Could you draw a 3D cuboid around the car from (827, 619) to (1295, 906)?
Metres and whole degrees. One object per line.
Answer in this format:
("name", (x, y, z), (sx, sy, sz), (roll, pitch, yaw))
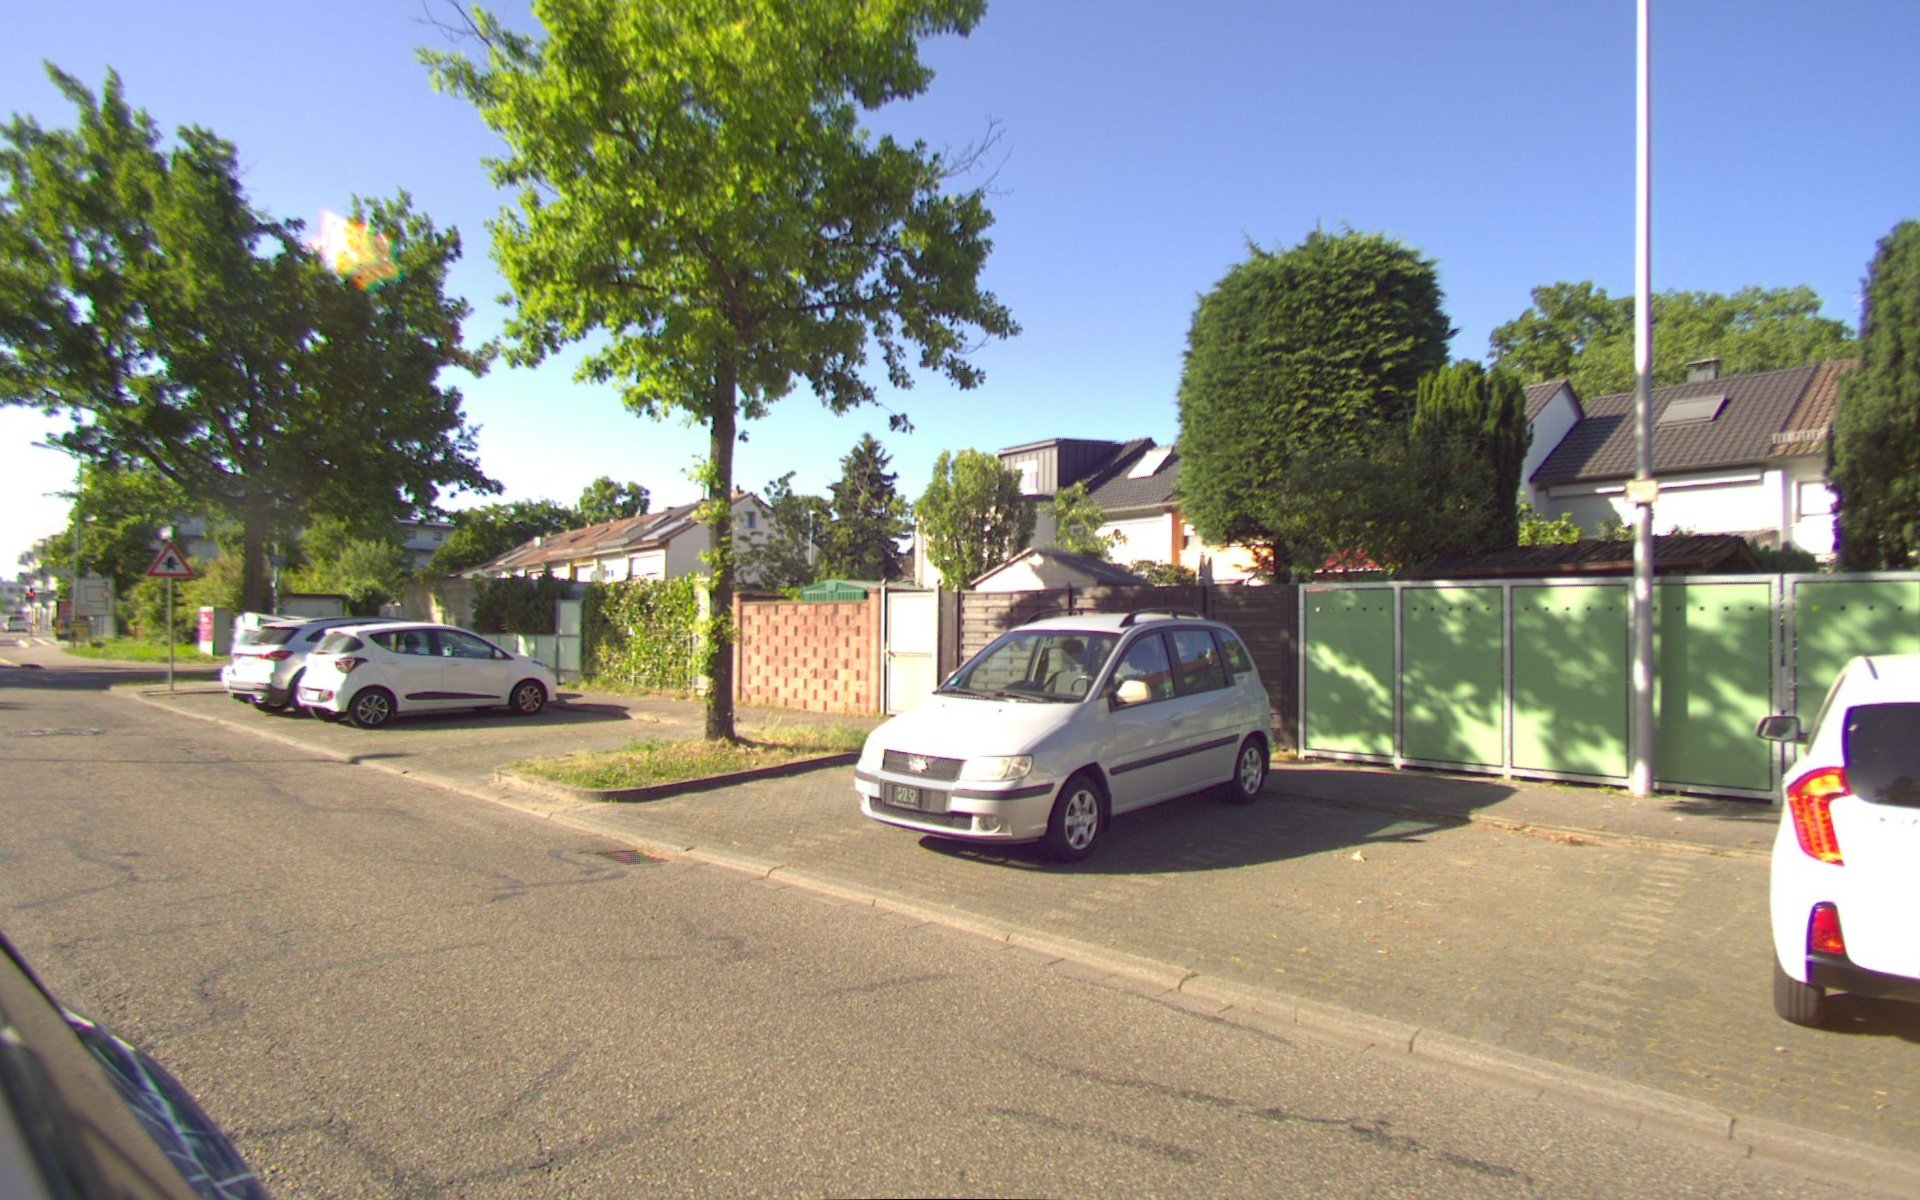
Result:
("car", (0.998, 0.997, 7.986), (1.705, 1.626, 3.897), (-2, -1, 42))

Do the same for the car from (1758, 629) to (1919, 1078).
("car", (4.937, 0.926, 4.645), (1.794, 1.526, 3.959), (-1, -3, 41))

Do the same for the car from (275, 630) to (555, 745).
("car", (-8.409, 1.256, 15.825), (1.706, 1.507, 3.480), (0, -1, 38))

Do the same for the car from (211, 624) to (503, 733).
("car", (-10.297, 1.241, 17.553), (1.917, 1.586, 3.920), (0, 0, 34))

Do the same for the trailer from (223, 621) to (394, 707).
("trailer", (-13.744, 1.300, 21.450), (1.297, 1.660, 2.734), (1, -1, 36))

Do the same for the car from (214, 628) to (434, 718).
("car", (-12.157, 1.325, 19.455), (1.615, 1.489, 3.260), (0, -1, 41))
